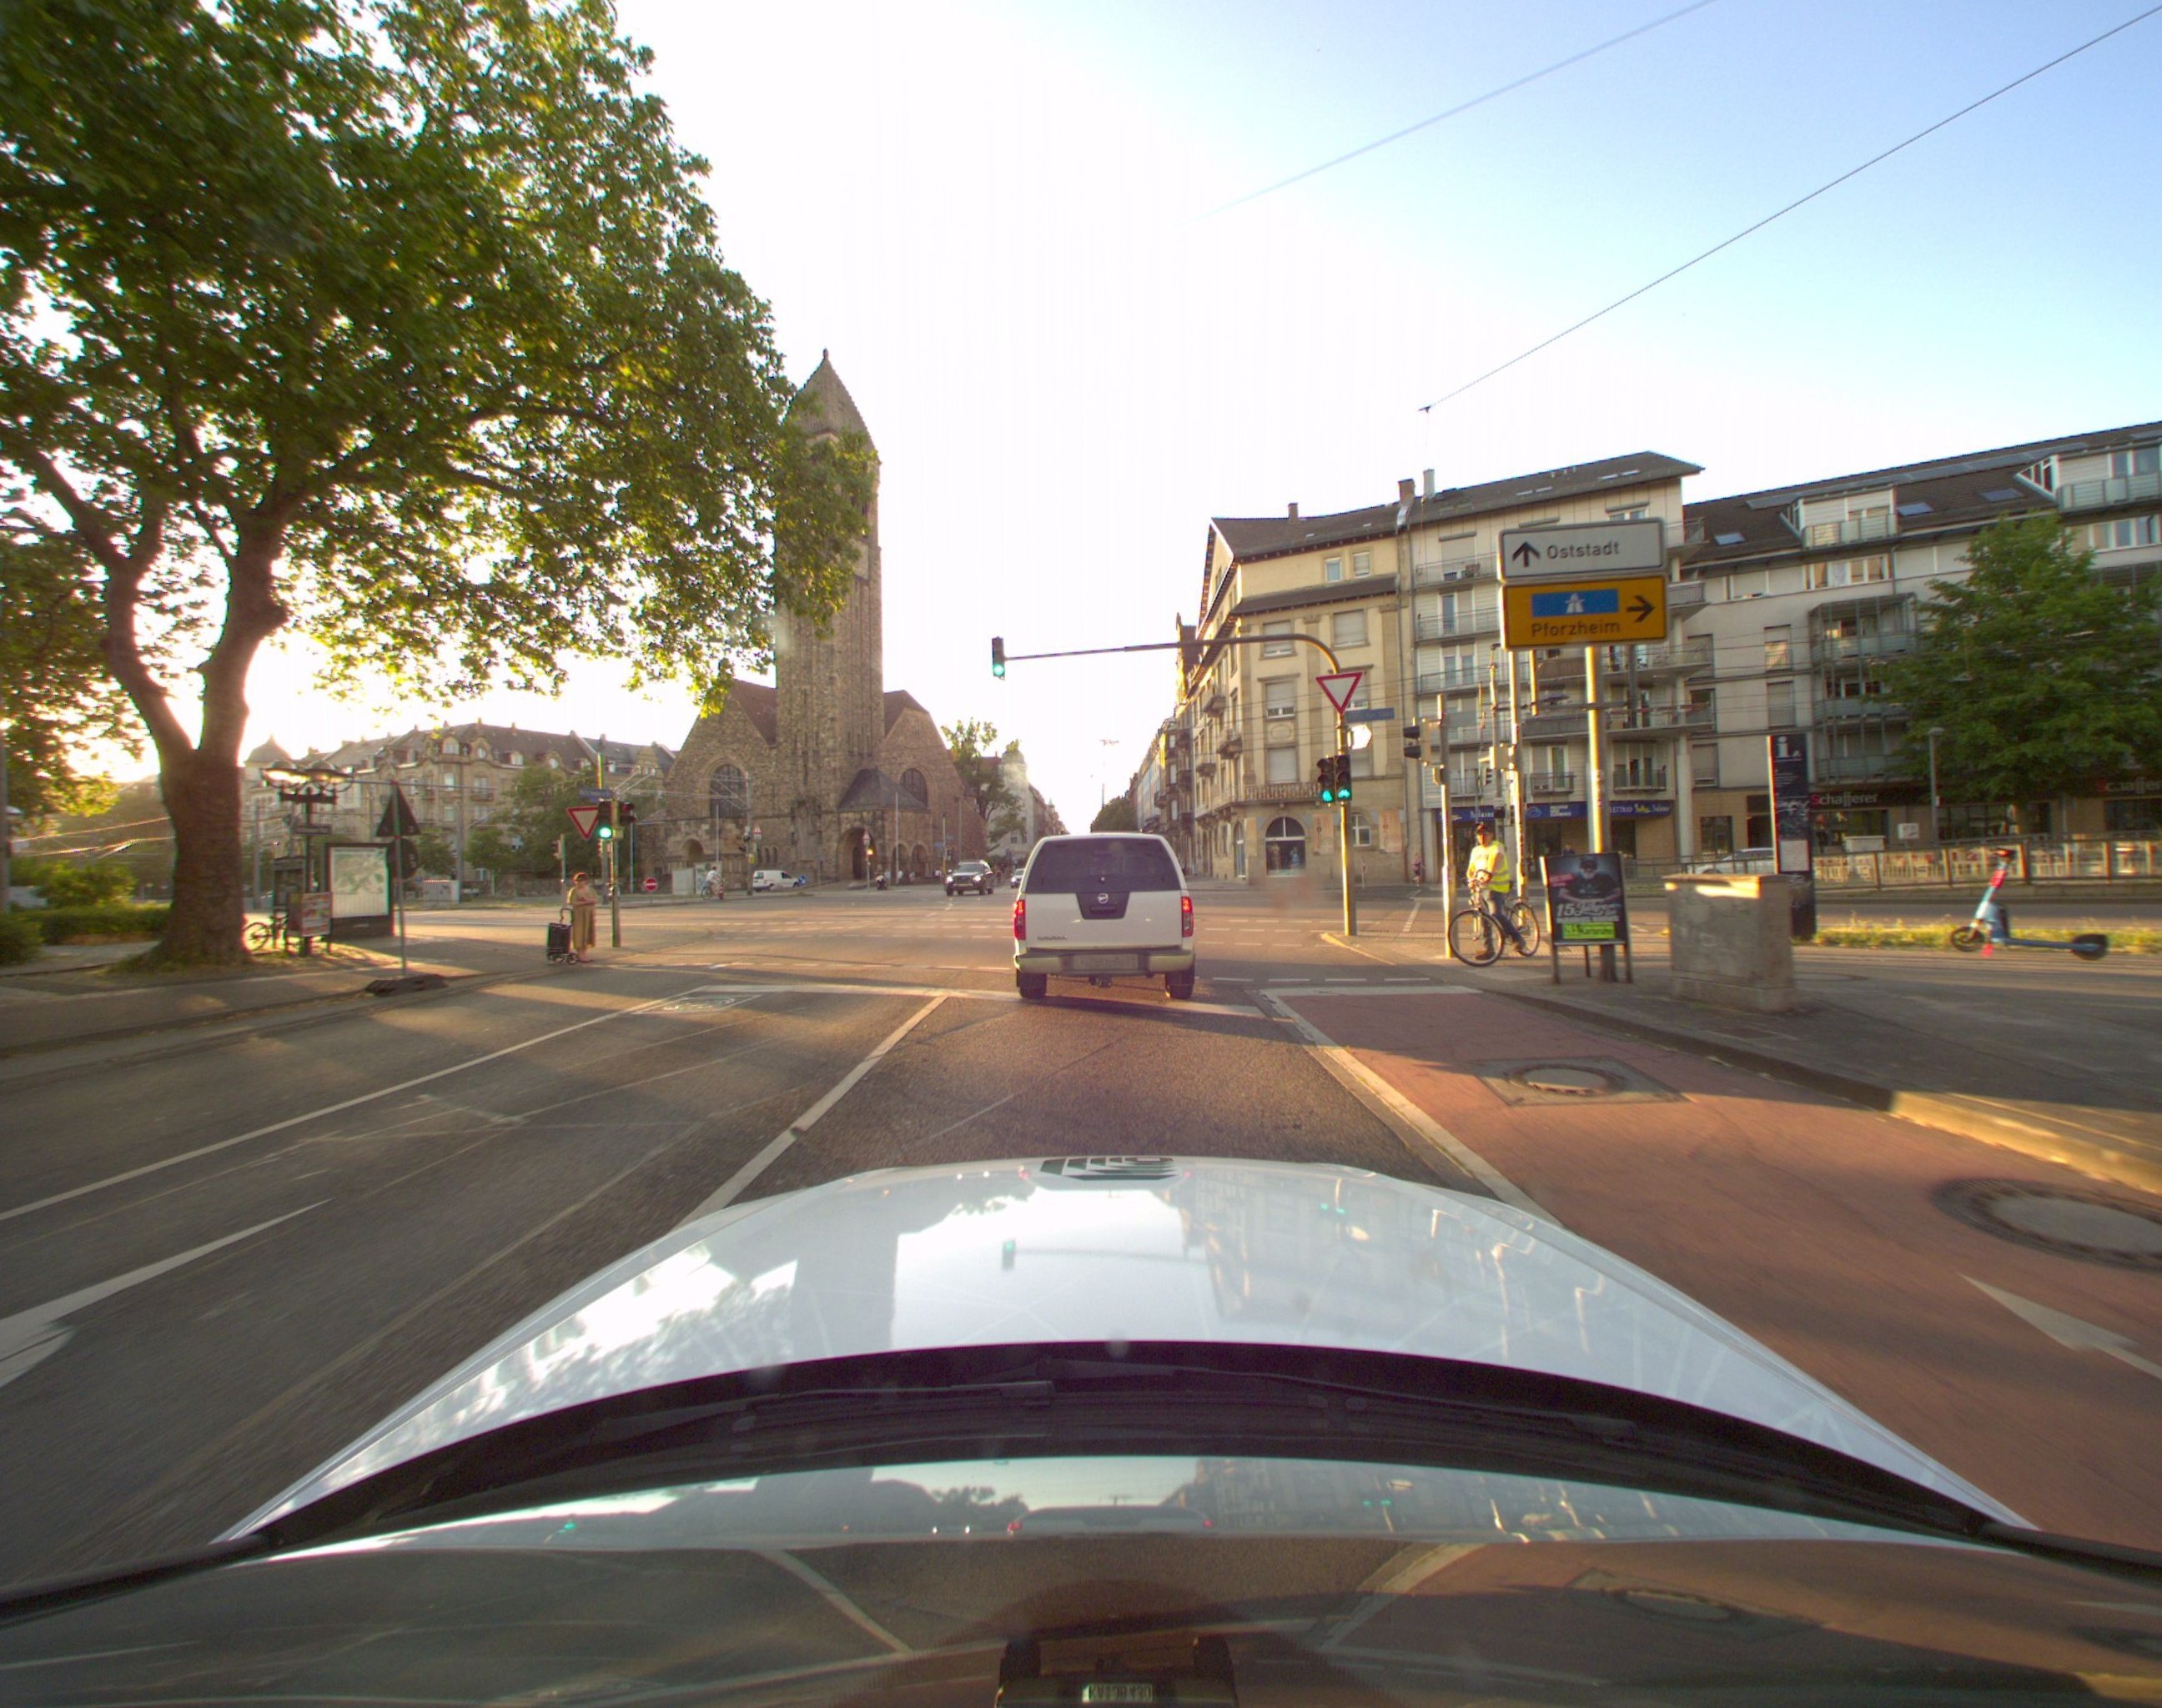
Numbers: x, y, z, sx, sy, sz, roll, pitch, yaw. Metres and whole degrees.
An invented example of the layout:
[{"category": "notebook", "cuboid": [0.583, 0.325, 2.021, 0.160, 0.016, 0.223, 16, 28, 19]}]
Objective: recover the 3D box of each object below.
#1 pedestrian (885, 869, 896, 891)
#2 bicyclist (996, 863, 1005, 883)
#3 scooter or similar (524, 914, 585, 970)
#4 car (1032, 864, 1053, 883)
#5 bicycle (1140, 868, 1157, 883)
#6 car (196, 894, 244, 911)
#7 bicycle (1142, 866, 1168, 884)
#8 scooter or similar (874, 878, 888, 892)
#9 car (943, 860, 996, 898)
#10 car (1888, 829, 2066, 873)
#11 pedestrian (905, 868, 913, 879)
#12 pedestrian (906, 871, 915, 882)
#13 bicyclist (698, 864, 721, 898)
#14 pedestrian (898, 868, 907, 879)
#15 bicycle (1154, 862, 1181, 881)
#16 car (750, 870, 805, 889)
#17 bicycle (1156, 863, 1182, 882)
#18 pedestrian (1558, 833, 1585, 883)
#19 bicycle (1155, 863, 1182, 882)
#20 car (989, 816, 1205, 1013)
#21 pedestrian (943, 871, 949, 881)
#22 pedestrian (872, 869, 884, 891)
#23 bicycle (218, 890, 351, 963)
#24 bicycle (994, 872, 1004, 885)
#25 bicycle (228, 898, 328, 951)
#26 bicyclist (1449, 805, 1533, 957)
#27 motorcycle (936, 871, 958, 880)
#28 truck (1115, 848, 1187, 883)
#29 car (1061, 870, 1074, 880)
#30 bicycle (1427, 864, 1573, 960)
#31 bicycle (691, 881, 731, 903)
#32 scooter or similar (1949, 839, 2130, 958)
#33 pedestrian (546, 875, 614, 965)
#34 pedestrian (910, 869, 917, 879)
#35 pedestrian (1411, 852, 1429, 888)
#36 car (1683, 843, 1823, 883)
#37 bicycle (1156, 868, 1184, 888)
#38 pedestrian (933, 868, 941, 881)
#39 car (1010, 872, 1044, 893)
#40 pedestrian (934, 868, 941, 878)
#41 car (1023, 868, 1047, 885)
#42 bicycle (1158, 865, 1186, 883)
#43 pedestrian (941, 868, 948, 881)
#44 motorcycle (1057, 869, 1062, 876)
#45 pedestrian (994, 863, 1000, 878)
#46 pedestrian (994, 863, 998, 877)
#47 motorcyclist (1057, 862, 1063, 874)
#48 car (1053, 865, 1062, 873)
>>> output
[{"category": "pedestrian", "cuboid": [-14.930, 2.016, 63.905, 0.629, 1.698, 0.605, -1, -2, 13]}, {"category": "bicyclist", "cuboid": [-6.696, 1.553, 67.984, 0.597, 1.645, 0.963, -1, -1, 1]}, {"category": "scooter or similar", "cuboid": [-9.283, 1.545, 14.381, 0.591, 0.898, 0.849, 0, -1, -8]}, {"category": "car", "cuboid": [-4.187, 2.096, 89.551, 1.987, 2.014, 4.950, -2, -1, 1]}, {"category": "bicycle", "cuboid": [4.819, 1.546, 58.326, 1.073, 1.024, 0.317, -5, -1, -1]}, {"category": "car", "cuboid": [-93.959, 5.307, 88.855, 3.955, 1.618, 2.009, -3, 0, 17]}, {"category": "bicycle", "cuboid": [5.207, 1.477, 57.432, 1.721, 1.083, 0.317, -5, -1, -1]}, {"category": "scooter or similar", "cuboid": [-15.456, 2.397, 63.089, 0.629, 1.103, 1.082, -1, -1, 13]}, {"category": "car", "cuboid": [-5.674, 1.215, 41.980, 1.986, 1.784, 4.798, 1, 0, 1]}, {"category": "car", "cuboid": [32.694, -0.073, 29.869, 3.952, 1.486, 1.859, -1, -1, 22]}, {"category": "pedestrian", "cuboid": [-14.816, 1.662, 70.031, 0.517, 0.960, 0.482, -1, -2, 21]}, {"category": "pedestrian", "cuboid": [-14.894, 1.963, 71.199, 0.473, 0.960, 0.526, -2, -2, 32]}, {"category": "bicyclist", "cuboid": [-20.560, 1.488, 45.074, 0.651, 1.827, 0.863, -1, 1, 19]}, {"category": "pedestrian", "cuboid": [-15.426, 1.676, 70.324, 0.517, 0.960, 0.482, -1, -2, 21]}, {"category": "bicycle", "cuboid": [6.351, 1.316, 59.923, 1.812, 1.238, 0.410, -5, -1, -1]}, {"category": "car", "cuboid": [-26.106, 2.162, 70.214, 1.698, 1.517, 4.481, -1, -1, 26]}, {"category": "bicycle", "cuboid": [6.405, 1.359, 59.315, 1.812, 1.238, 0.412, -5, -1, -1]}, {"category": "pedestrian", "cuboid": [21.944, 0.180, 36.482, 0.860, 2.209, 0.825, -1, -2, 21]}, {"category": "bicycle", "cuboid": [6.274, 1.322, 58.593, 1.812, 1.238, 0.477, -5, -1, -1]}, {"category": "car", "cuboid": [0.215, 0.603, 9.553, 1.986, 1.809, 4.001, -1, -1, 2]}, {"category": "pedestrian", "cuboid": [-12.505, 2.031, 75.444, 0.522, 0.960, 0.477, 0, -2, -14]}, {"category": "pedestrian", "cuboid": [-15.937, 2.041, 63.947, 0.629, 1.698, 0.605, -1, -2, 12]}, {"category": "bicycle", "cuboid": [-15.873, 1.412, 16.310, 0.522, 1.326, 1.998, -1, -1, 7]}, {"category": "bicycle", "cuboid": [-6.846, 2.057, 68.063, 0.597, 1.043, 1.946, -1, -1, 1]}, {"category": "bicycle", "cuboid": [-18.089, 1.563, 18.400, 0.456, 1.093, 1.798, -1, -1, 0]}, {"category": "bicyclist", "cuboid": [5.134, 0.331, 10.209, 0.701, 1.824, 0.622, 0, -2, -30]}, {"category": "motorcycle", "cuboid": [-14.269, 2.319, 87.019, 2.239, 0.988, 0.707, -1, -1, -4]}, {"category": "truck", "cuboid": [5.525, 0.876, 63.537, 5.704, 2.565, 2.260, 0, -1, -41]}, {"category": "car", "cuboid": [-2.188, 3.440, 132.345, 1.852, 1.529, 3.999, -1, -1, 0]}, {"category": "bicycle", "cuboid": [5.329, 0.689, 10.317, 2.078, 1.109, 0.622, 0, -2, -31]}, {"category": "bicycle", "cuboid": [-20.516, 2.090, 45.174, 0.651, 1.078, 2.255, 0, 0, 18]}, {"category": "scooter or similar", "cuboid": [10.657, 0.480, 9.114, 1.219, 1.249, 0.518, -2, -2, 42]}, {"category": "pedestrian", "cuboid": [-9.352, 1.215, 15.227, 0.800, 1.628, 0.773, -1, -1, -3]}, {"category": "pedestrian", "cuboid": [-16.753, 2.029, 81.487, 0.551, 0.960, 0.708, -1, -1, -5]}, {"category": "pedestrian", "cuboid": [16.948, 0.795, 40.717, 0.779, 1.779, 0.546, -1, -2, 27]}, {"category": "car", "cuboid": [26.743, 0.373, 32.587, 3.950, 1.486, 1.860, -1, -1, 26]}, {"category": "bicycle", "cuboid": [6.318, 1.700, 57.871, 1.812, 1.238, 0.488, -5, -1, -1]}, {"category": "pedestrian", "cuboid": [-13.587, 1.933, 76.798, 0.474, 1.245, 0.526, -1, -2, 19]}, {"category": "car", "cuboid": [-4.260, 2.263, 64.832, 1.984, 1.558, 4.773, -2, -1, 4]}, {"category": "pedestrian", "cuboid": [-13.340, 1.764, 75.702, 0.517, 0.960, 0.481, -1, -2, 19]}, {"category": "car", "cuboid": [-4.525, 2.201, 80.192, 1.987, 1.477, 4.140, -2, -1, 1]}, {"category": "bicycle", "cuboid": [6.381, 1.395, 56.935, 1.812, 1.150, 0.636, -5, -1, -1]}, {"category": "pedestrian", "cuboid": [-13.002, 1.978, 77.383, 0.474, 1.245, 0.526, -1, -2, 19]}, {"category": "motorcycle", "cuboid": [-2.994, 2.525, 111.655, 0.597, 1.043, 1.946, -1, -1, 1]}, {"category": "pedestrian", "cuboid": [-10.416, 2.103, 101.060, 0.643, 1.855, 0.559, 0, -2, -13]}, {"category": "pedestrian", "cuboid": [-10.636, 2.040, 101.908, 0.559, 1.695, 0.643, -1, -2, -6]}, {"category": "motorcyclist", "cuboid": [-2.887, 1.906, 111.653, 0.871, 1.645, 0.963, -1, -2, 0]}, {"category": "car", "cuboid": [-5.192, 3.315, 179.615, 1.852, 1.529, 4.001, -1, -1, 1]}]
